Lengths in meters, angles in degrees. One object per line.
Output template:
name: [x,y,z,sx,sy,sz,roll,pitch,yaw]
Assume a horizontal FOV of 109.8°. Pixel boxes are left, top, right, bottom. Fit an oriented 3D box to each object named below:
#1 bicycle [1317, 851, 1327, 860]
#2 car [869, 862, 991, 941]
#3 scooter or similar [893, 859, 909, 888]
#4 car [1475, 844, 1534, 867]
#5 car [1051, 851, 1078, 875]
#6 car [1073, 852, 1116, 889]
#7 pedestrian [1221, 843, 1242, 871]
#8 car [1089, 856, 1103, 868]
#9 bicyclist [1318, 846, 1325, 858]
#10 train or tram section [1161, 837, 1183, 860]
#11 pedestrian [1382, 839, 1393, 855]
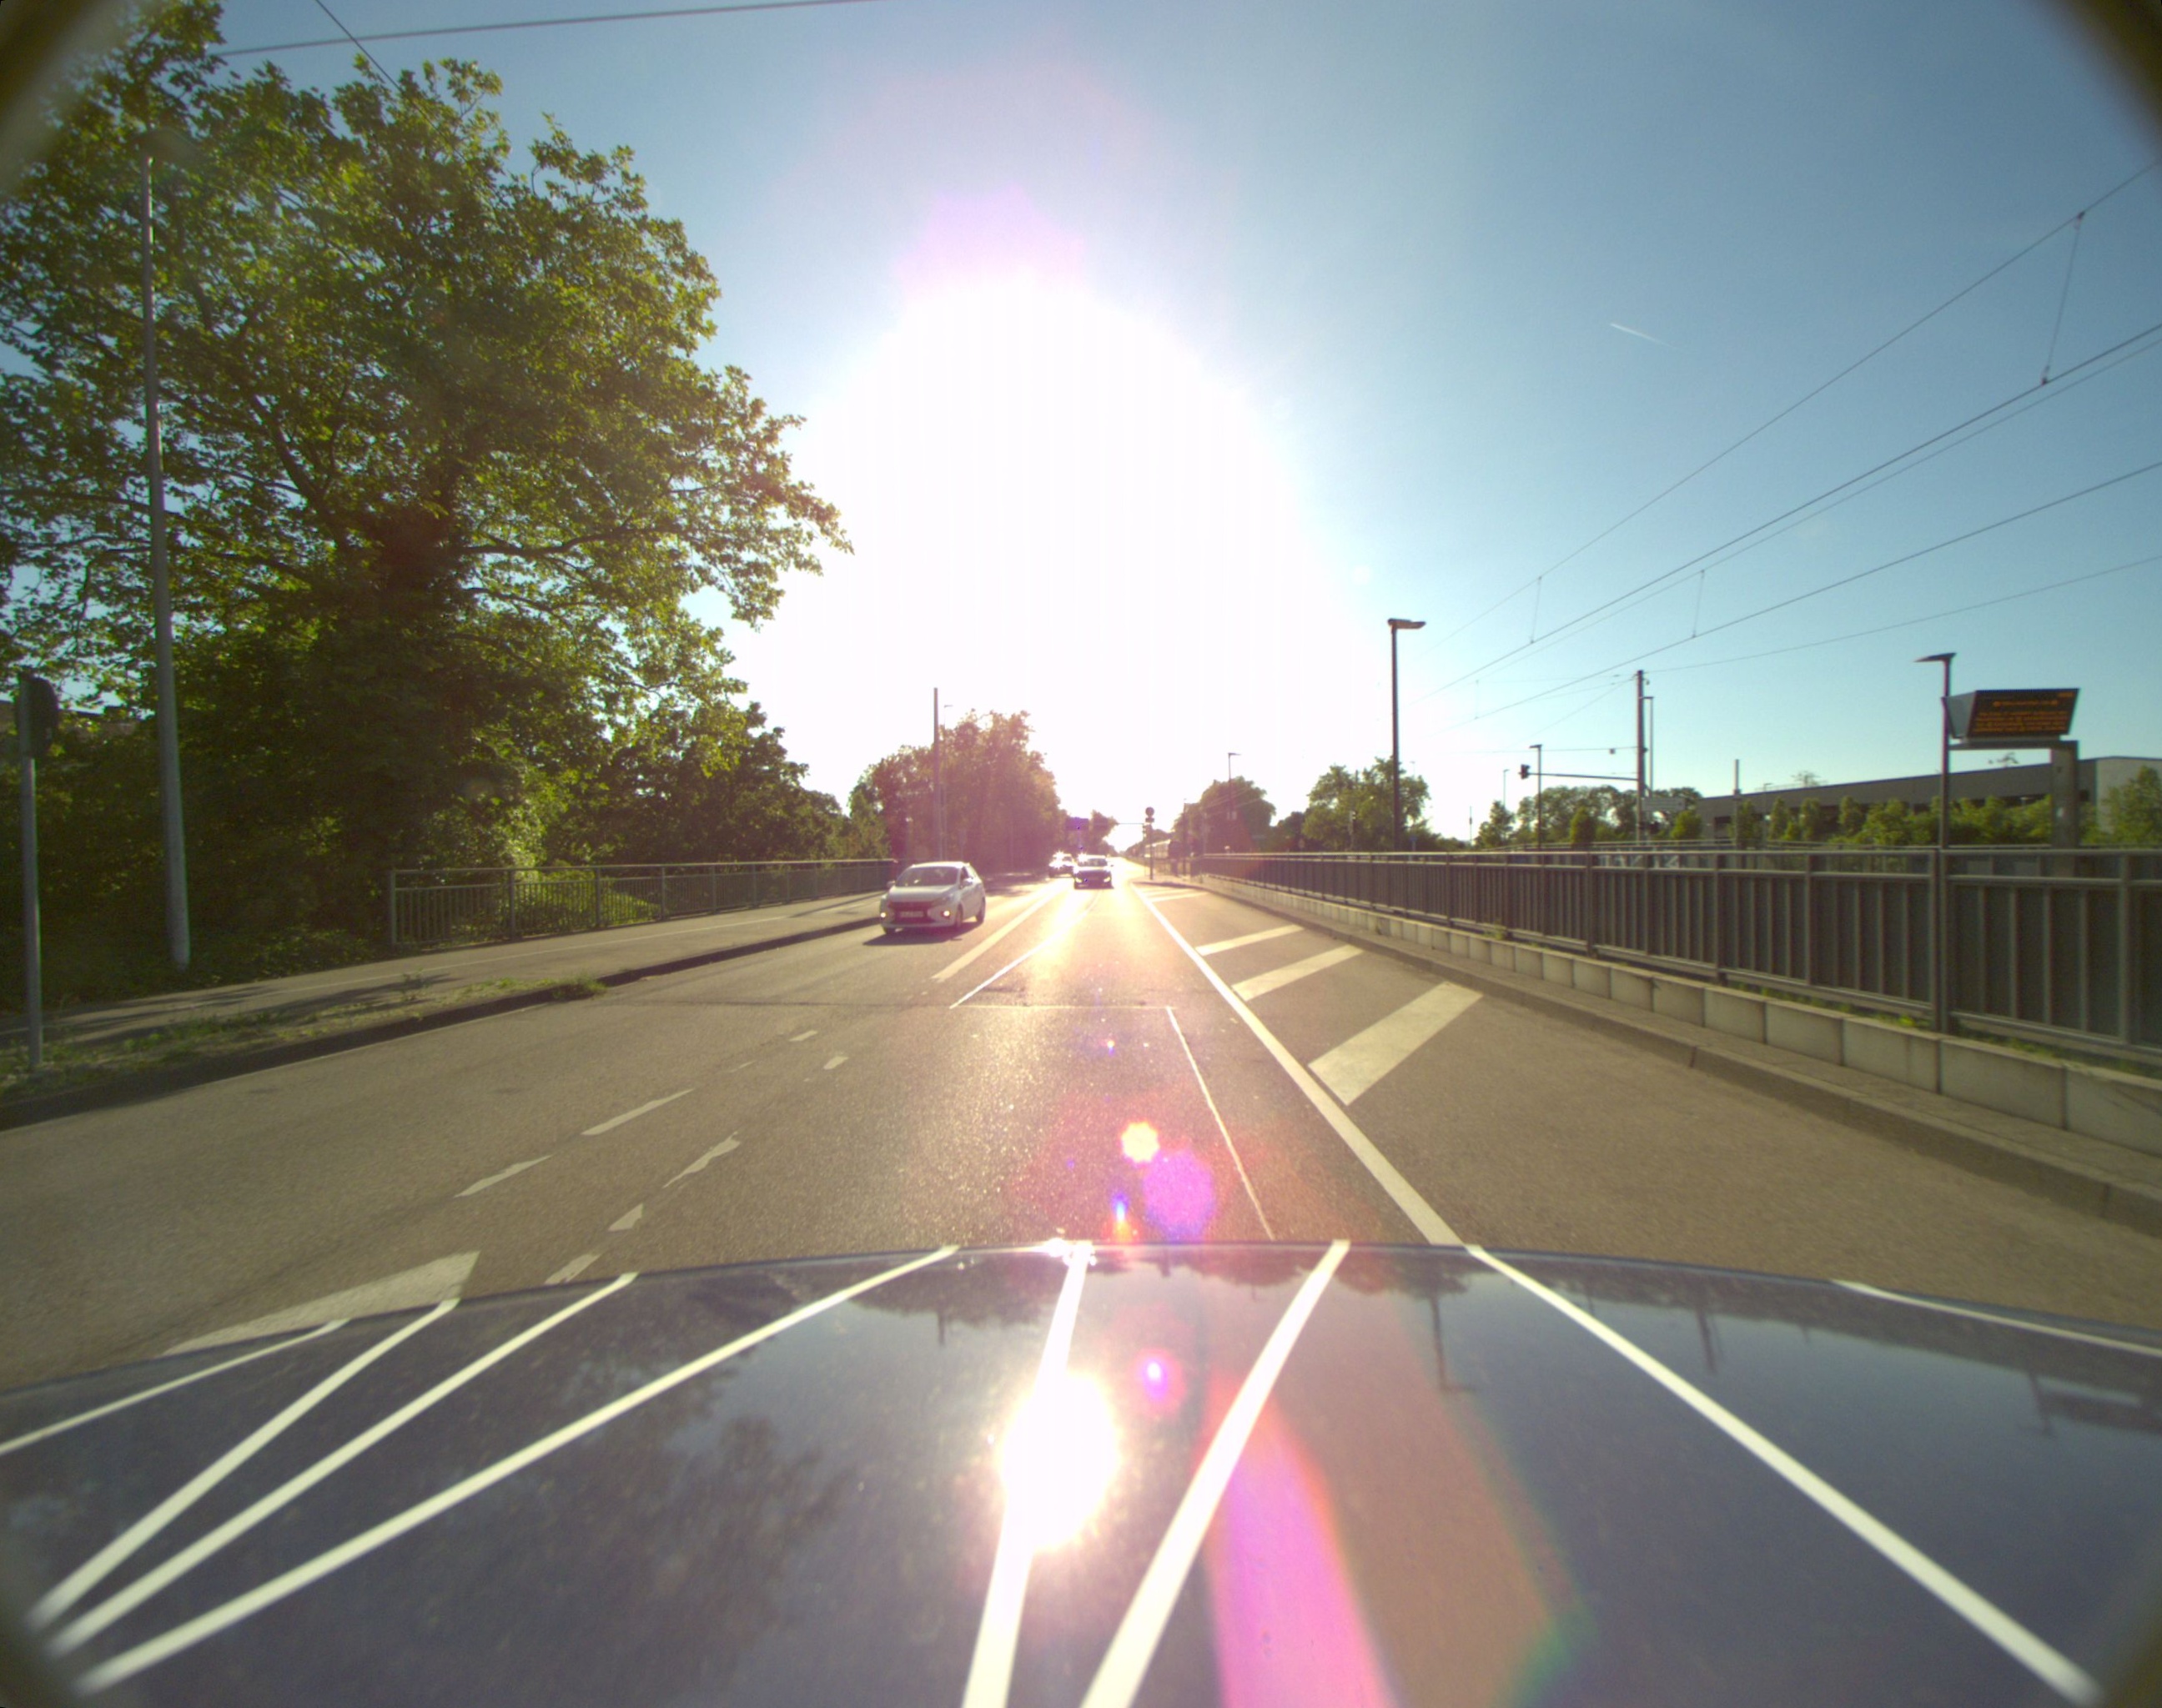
bicycle: [31.660,0.137,99.946,0.632,1.121,2.528,-1,1,2]
car: [-3.301,0.983,17.319,1.670,1.465,3.745,-2,1,5]
scooter or similar: [-8.151,0.872,34.378,0.427,1.267,1.083,-1,1,2]
car: [27.617,0.095,49.700,1.736,1.437,4.000,-1,1,2]
car: [-1.202,0.640,56.070,1.824,1.608,4.000,-2,1,1]
car: [0.671,0.708,34.869,1.786,1.530,4.000,-1,1,3]
pedestrian: [8.826,0.188,44.659,0.892,1.635,0.986,-1,1,-9]
car: [2.036,1.097,103.476,1.784,1.586,4.000,-1,0,1]
bicyclist: [31.639,-0.301,99.996,0.770,1.608,0.835,-1,1,2]
train or tram section: [16.326,-1.027,137.055,2.891,3.924,12.112,-1,0,2]
pedestrian: [31.405,-0.727,77.845,0.722,1.600,0.879,-1,1,2]
